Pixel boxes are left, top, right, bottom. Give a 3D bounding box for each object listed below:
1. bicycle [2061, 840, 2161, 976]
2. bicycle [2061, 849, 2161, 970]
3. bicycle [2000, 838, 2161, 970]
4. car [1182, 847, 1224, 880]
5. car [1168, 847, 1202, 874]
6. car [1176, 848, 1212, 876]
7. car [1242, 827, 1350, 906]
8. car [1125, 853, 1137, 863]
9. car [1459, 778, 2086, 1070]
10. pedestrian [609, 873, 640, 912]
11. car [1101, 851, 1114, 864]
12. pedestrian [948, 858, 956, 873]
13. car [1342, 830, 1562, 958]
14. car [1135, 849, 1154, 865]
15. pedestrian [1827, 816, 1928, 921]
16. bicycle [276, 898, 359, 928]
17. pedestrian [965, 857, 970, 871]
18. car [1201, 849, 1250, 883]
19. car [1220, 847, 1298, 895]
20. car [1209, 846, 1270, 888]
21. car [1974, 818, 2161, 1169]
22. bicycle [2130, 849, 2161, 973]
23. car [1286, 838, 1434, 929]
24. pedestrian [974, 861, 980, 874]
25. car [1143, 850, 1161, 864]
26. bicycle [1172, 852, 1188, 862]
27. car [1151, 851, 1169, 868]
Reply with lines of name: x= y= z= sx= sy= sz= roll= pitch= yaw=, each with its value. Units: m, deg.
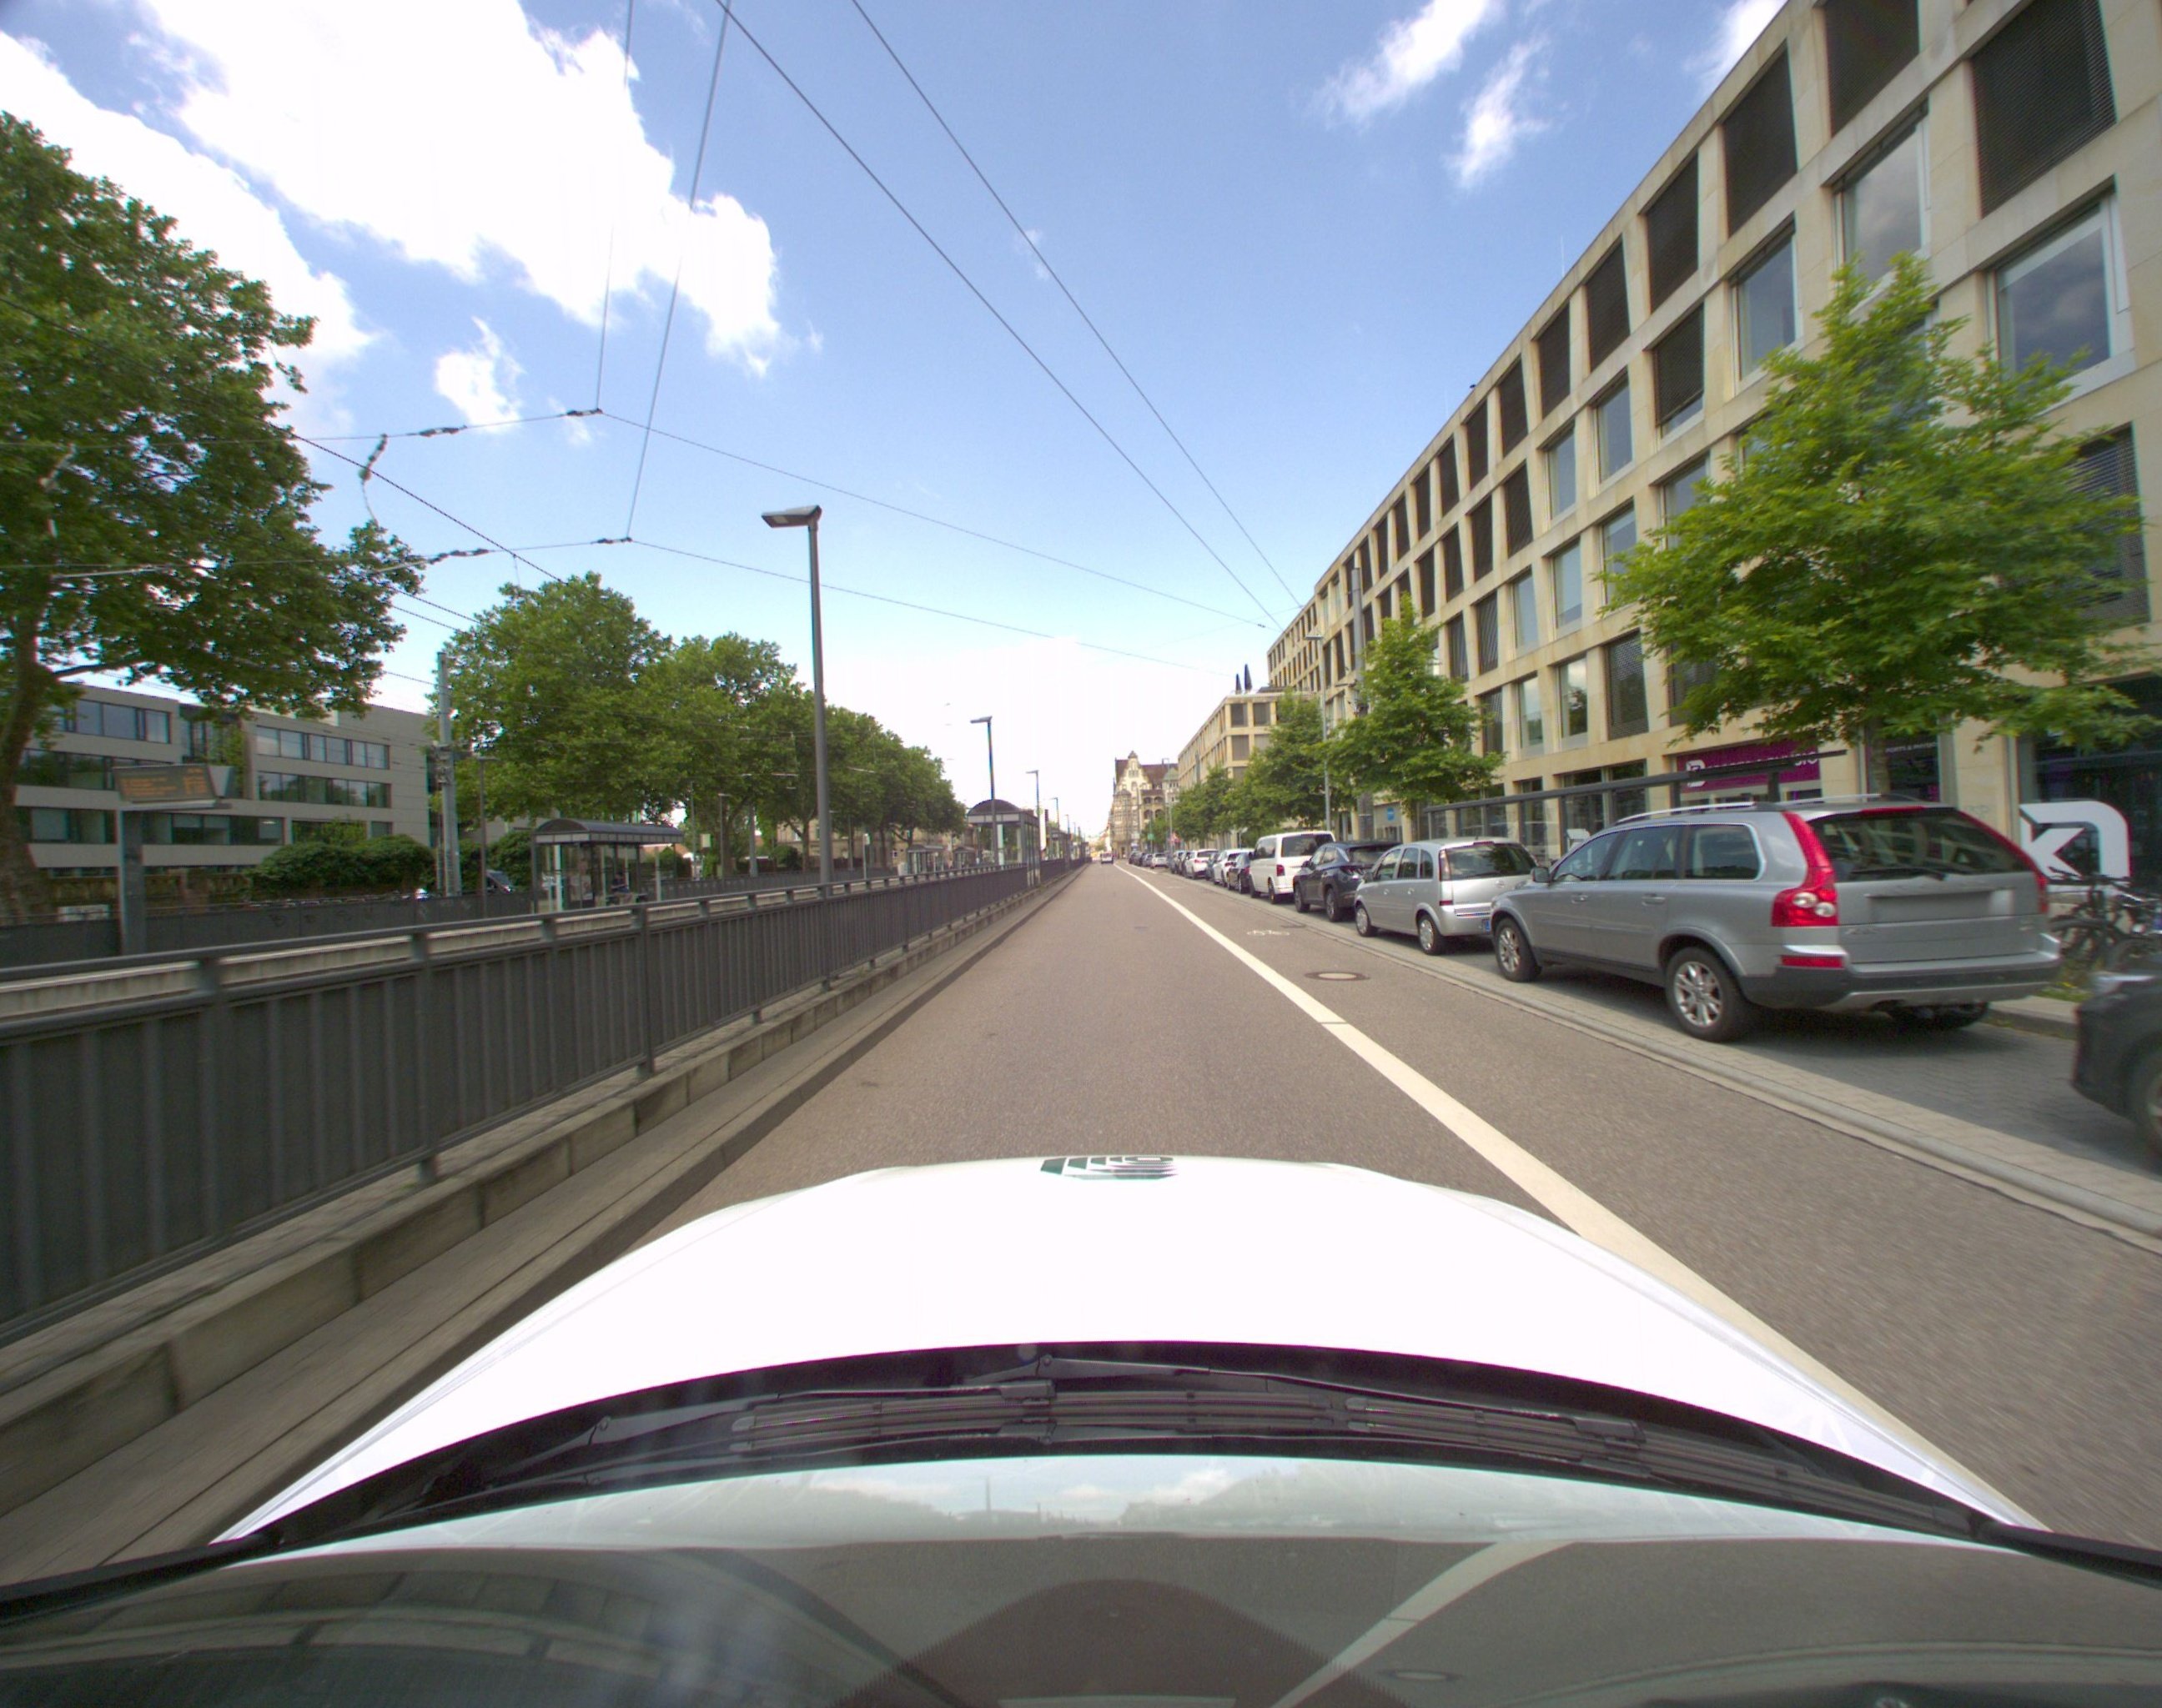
bicycle: x=10.153 y=0.435 z=7.403 sx=1.835 sy=1.125 sz=0.488 roll=-5 pitch=0 yaw=0
bicycle: x=9.590 y=0.479 z=6.996 sx=1.835 sy=0.994 sz=0.439 roll=1 pitch=0 yaw=0
bicycle: x=10.176 y=0.460 z=7.938 sx=1.835 sy=1.125 sz=0.480 roll=-5 pitch=0 yaw=0
car: x=6.699 y=0.490 z=45.027 sx=1.679 sy=1.606 sz=4.153 roll=-4 pitch=0 yaw=1
car: x=7.145 y=0.410 z=56.119 sx=1.680 sy=1.633 sz=3.989 roll=-5 pitch=0 yaw=-1
car: x=6.955 y=0.477 z=50.526 sx=1.679 sy=1.548 sz=3.927 roll=-4 pitch=0 yaw=1
car: x=6.173 y=0.324 z=23.984 sx=1.875 sy=1.939 sz=4.845 roll=-4 pitch=0 yaw=1
car: x=7.122 y=0.546 z=115.668 sx=1.438 sy=1.470 sz=4.091 roll=-1 pitch=0 yaw=0
car: x=5.518 y=0.432 z=7.597 sx=1.762 sy=1.767 sz=4.841 roll=-3 pitch=0 yaw=1
pedestrian: x=-15.804 y=1.331 z=28.229 sx=0.550 sy=1.269 sz=0.768 roll=-3 pitch=0 yaw=3
car: x=3.952 y=0.505 z=121.152 sx=1.862 sy=1.746 sz=4.001 roll=-2 pitch=0 yaw=1
pedestrian: x=-13.327 y=1.164 z=84.304 sx=0.701 sy=1.512 sz=0.801 roll=-4 pitch=0 yaw=-8
car: x=5.581 y=0.529 z=12.823 sx=1.715 sy=1.619 sz=3.861 roll=-3 pitch=0 yaw=1
car: x=7.365 y=0.326 z=94.574 sx=1.732 sy=1.669 sz=4.839 roll=-1 pitch=0 yaw=0
pedestrian: x=12.426 y=0.217 z=12.735 sx=0.635 sy=1.551 sz=0.906 roll=-3 pitch=0 yaw=1
bicycle: x=-31.316 y=2.415 z=33.419 sx=3.023 sy=1.167 sz=0.635 roll=0 pitch=0 yaw=5
pedestrian: x=-13.615 y=1.183 z=97.727 sx=0.498 sy=1.558 sz=0.643 roll=-3 pitch=0 yaw=1
car: x=6.996 y=0.533 z=39.784 sx=1.679 sy=1.457 sz=3.952 roll=-4 pitch=0 yaw=1
car: x=6.334 y=0.567 z=29.491 sx=1.875 sy=1.487 sz=4.565 roll=-4 pitch=0 yaw=1
car: x=6.685 y=0.513 z=34.808 sx=1.786 sy=1.529 sz=4.160 roll=-4 pitch=0 yaw=1
car: x=5.464 y=0.580 z=2.184 sx=1.685 sy=1.504 sz=4.069 roll=-3 pitch=0 yaw=1
bicycle: x=9.580 y=0.478 z=6.514 sx=1.835 sy=0.994 sz=0.439 roll=1 pitch=0 yaw=0
car: x=5.950 y=0.559 z=17.980 sx=1.715 sy=1.640 sz=4.529 roll=-4 pitch=0 yaw=1
pedestrian: x=-13.841 y=1.733 z=108.141 sx=0.498 sy=1.683 sz=0.643 roll=-4 pitch=0 yaw=1
car: x=7.735 y=0.324 z=88.787 sx=1.586 sy=1.434 sz=4.106 roll=-1 pitch=0 yaw=0
bicycle: x=11.772 y=0.364 z=97.224 sx=1.815 sy=1.030 sz=0.585 roll=-3 pitch=0 yaw=4
car: x=7.508 y=0.516 z=77.610 sx=1.585 sy=1.460 sz=3.615 roll=-2 pitch=0 yaw=3
